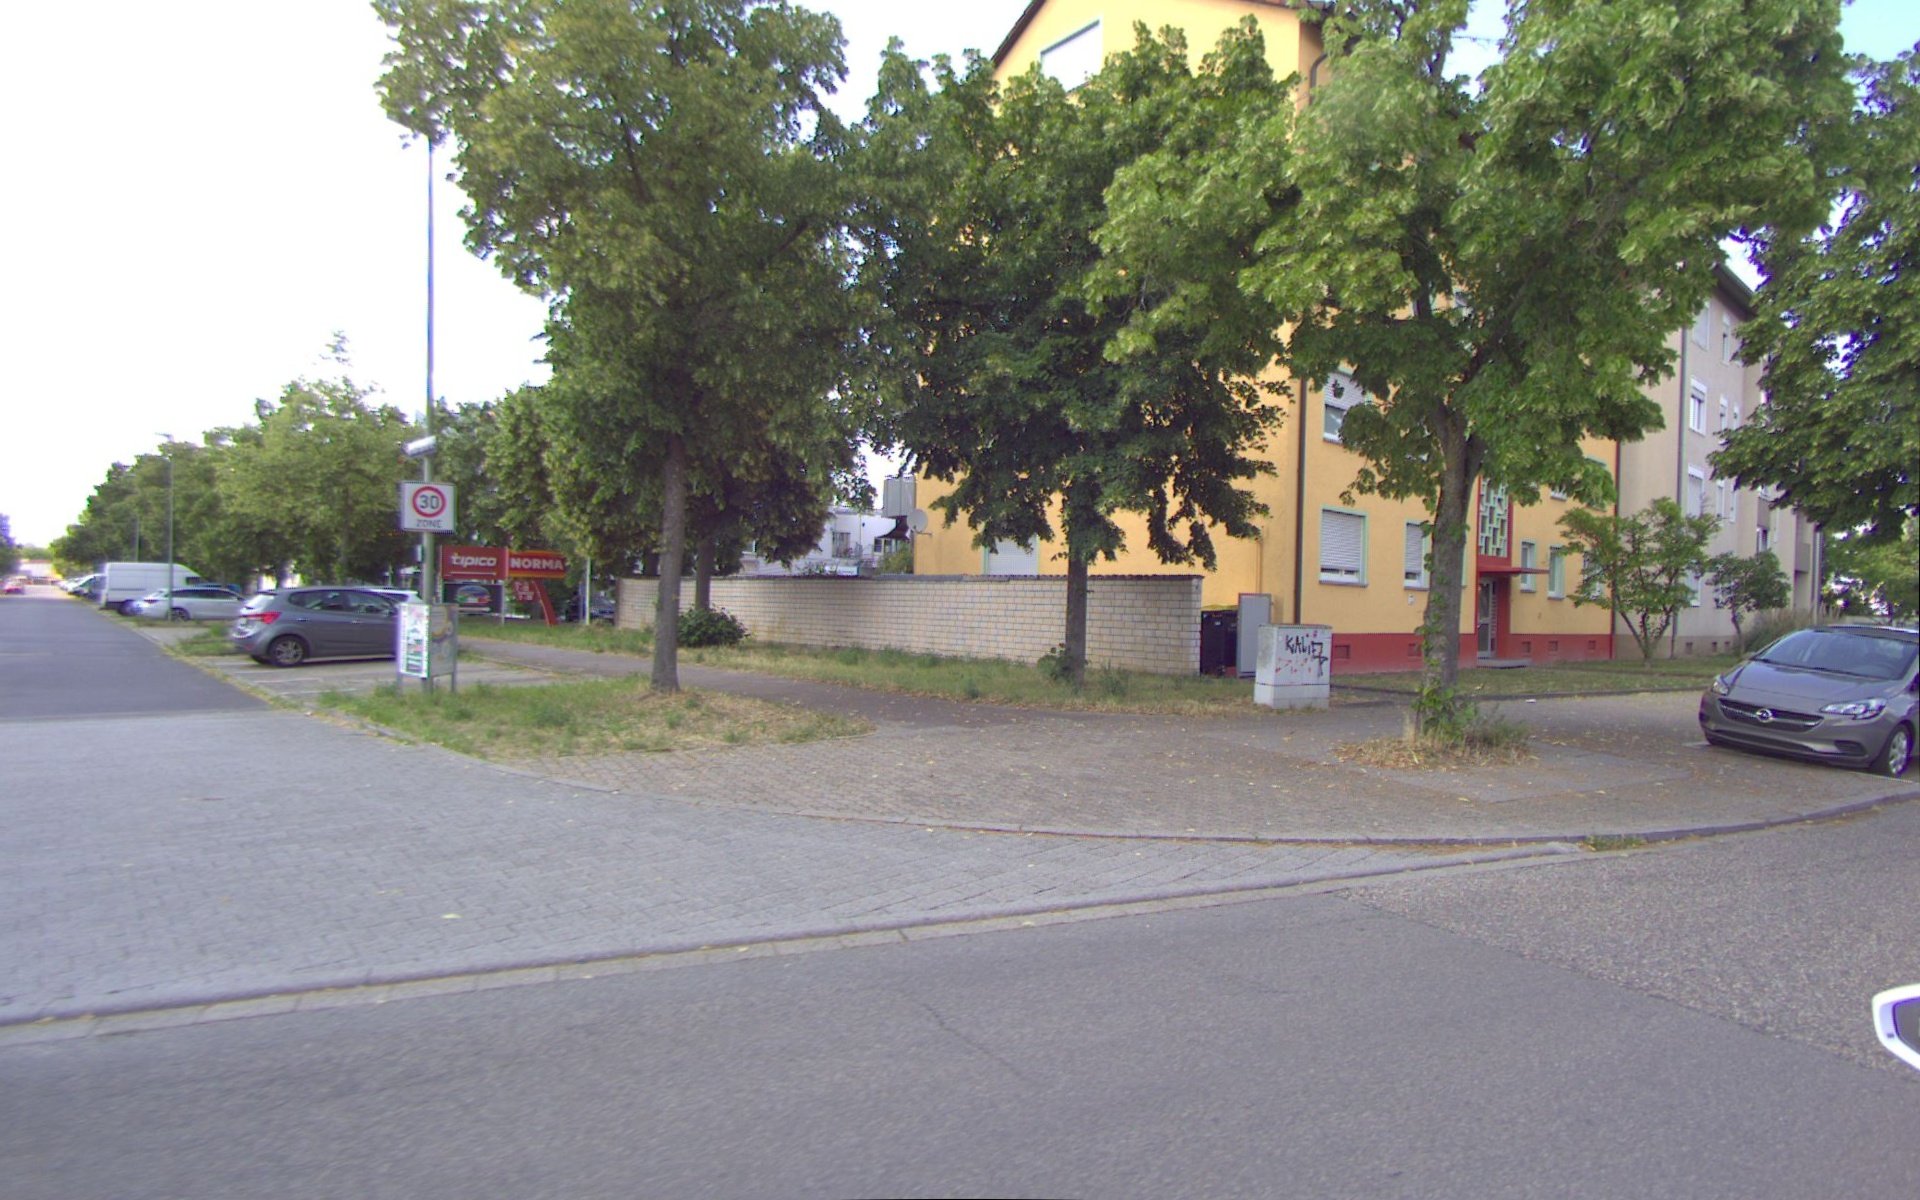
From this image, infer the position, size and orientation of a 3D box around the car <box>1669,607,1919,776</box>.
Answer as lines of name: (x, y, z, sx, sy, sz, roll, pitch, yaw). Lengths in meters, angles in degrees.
car: (10.029, 0.975, 11.296, 3.934, 1.506, 1.677, 3, 3, -28)

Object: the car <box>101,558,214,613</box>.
car: (-39.997, -0.680, 50.116, 4.231, 2.561, 1.829, 1, 0, -44)

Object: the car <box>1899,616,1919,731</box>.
car: (15.103, 1.110, 14.248, 3.712, 1.570, 1.509, 1, 6, -31)

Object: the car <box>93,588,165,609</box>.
car: (-64.116, -0.136, 77.563, 4.222, 1.502, 1.634, -1, 2, -38)

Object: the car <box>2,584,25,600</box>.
car: (-107.330, -0.967, 113.891, 4.082, 1.679, 1.675, 1, -2, 44)

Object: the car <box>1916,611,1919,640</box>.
car: (66.425, 1.617, 67.530, 2.037, 2.534, 5.820, 7, 4, 35)

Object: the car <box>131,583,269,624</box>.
car: (-29.873, 0.108, 39.567, 4.223, 1.502, 1.633, -1, 2, -39)

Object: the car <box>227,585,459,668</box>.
car: (-12.966, 0.483, 21.276, 1.629, 1.559, 3.878, 1, 2, 43)

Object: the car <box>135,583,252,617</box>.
car: (-35.474, -0.042, 46.571, 4.222, 1.502, 1.634, -1, 2, -38)

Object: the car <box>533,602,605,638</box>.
car: (-18.875, 0.933, 48.440, 3.843, 1.613, 1.643, 1, 2, 41)

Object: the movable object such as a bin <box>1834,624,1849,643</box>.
movable object such as a bin: (52.222, 1.991, 59.510, 0.872, 1.038, 0.619, -4, 4, -44)

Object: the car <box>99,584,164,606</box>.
car: (-67.707, -0.371, 82.106, 4.002, 1.699, 1.575, 1, 0, -43)

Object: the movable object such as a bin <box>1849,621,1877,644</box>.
movable object such as a bin: (52.874, 1.891, 58.820, 0.872, 1.292, 1.180, -4, 4, -43)

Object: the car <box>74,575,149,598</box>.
car: (-87.692, -1.383, 103.901, 5.827, 2.195, 1.717, 1, 0, -43)

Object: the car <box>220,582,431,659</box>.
car: (-14.723, 0.401, 23.457, 1.629, 1.613, 3.878, 1, 2, 43)
